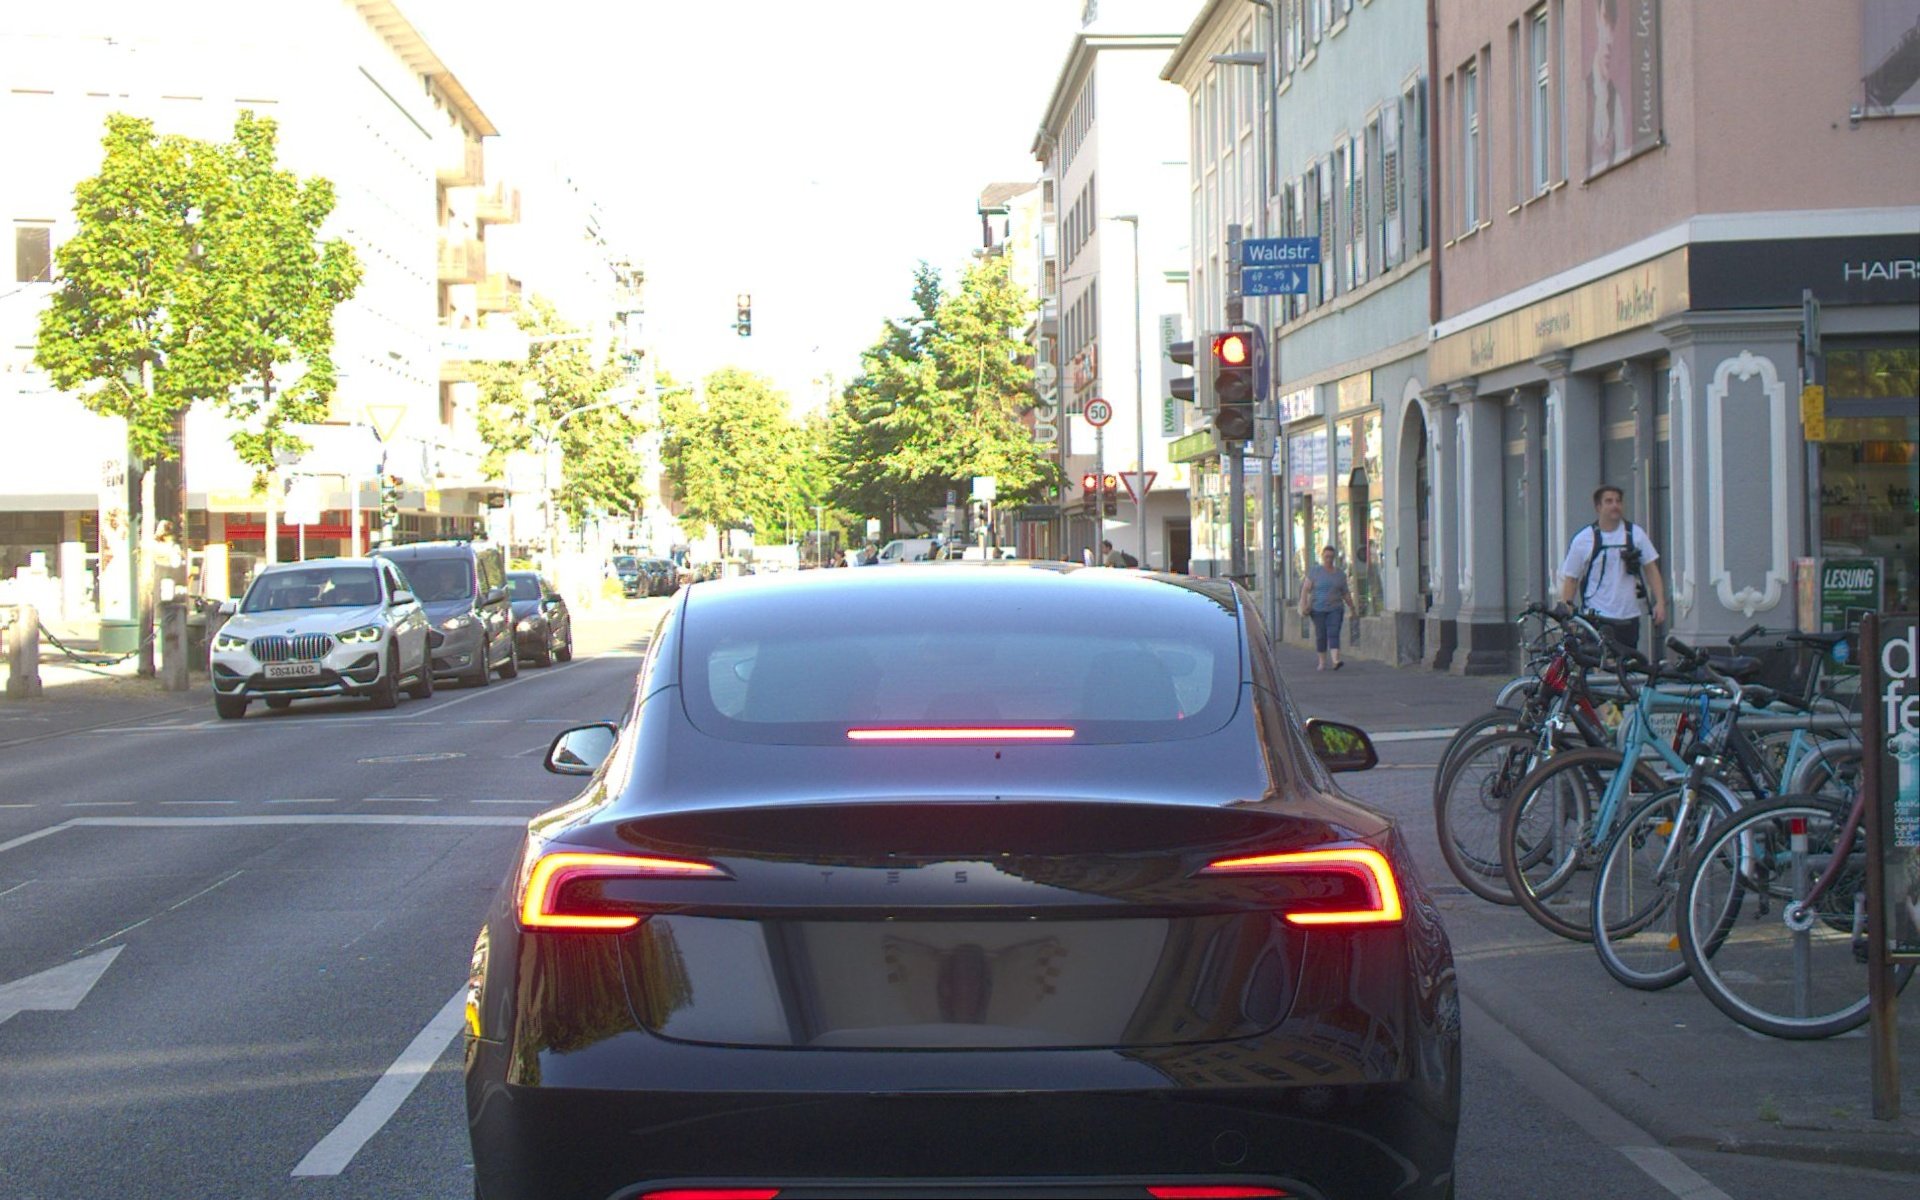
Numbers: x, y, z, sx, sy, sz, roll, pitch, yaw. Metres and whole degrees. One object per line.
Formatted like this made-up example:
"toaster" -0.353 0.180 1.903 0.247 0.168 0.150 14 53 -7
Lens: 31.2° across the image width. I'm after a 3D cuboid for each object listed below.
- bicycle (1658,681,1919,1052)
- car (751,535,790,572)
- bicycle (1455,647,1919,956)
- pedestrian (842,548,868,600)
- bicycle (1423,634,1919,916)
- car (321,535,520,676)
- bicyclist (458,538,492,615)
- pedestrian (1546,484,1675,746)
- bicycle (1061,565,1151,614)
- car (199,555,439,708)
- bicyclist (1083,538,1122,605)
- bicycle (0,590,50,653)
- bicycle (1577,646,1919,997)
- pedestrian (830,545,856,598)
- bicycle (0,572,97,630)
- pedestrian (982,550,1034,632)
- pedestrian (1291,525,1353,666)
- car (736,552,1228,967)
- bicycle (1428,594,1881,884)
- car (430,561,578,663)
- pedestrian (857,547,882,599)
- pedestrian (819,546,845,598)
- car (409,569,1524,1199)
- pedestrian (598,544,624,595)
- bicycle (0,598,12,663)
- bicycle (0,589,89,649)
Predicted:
"bicycle" 3.012 0.753 9.988 1.873 1.034 0.353 -2 0 6
"car" -10.308 -2.540 187.185 1.993 2.007 4.000 0 1 -1
"bicycle" 2.775 0.718 12.464 1.873 1.034 0.533 -2 0 4
"pedestrian" -2.882 -0.705 94.189 0.521 1.417 0.479 1 0 -30
"bicycle" 2.813 0.687 13.655 1.873 1.034 0.547 -2 0 5
"car" -6.559 0.029 42.207 1.787 1.640 4.403 0 1 -1
"bicyclist" -9.540 -0.467 67.635 0.522 1.498 0.476 1 0 -24
"pedestrian" 4.466 0.098 23.656 0.750 1.759 0.836 1 0 4
"bicycle" 3.024 -0.219 71.211 1.784 1.003 0.472 1 0 -16
"car" -6.681 0.291 36.195 1.789 1.455 3.757 -2 1 0
"bicyclist" 2.950 -0.592 71.182 0.669 1.390 0.462 1 0 -16
"bicycle" -14.806 0.326 52.139 1.864 0.931 0.606 0 1 -1
"bicycle" 2.993 0.700 11.181 1.873 1.084 0.414 -2 0 4
"pedestrian" -3.178 -0.775 93.173 0.521 1.417 0.479 1 0 -30
"bicycle" -20.809 0.018 77.921 2.361 1.291 0.513 1 0 -26
"pedestrian" 0.946 -0.183 68.544 0.754 1.626 0.956 1 0 -18
"pedestrian" 4.497 -0.058 42.777 0.706 1.736 0.540 0 1 -1
"car" 0.009 0.531 13.877 1.718 1.420 3.758 0 1 -2
"bicycle" 2.963 0.590 14.774 1.828 1.165 0.505 -2 0 5
"car" -6.754 0.155 51.197 1.715 1.441 3.845 1 1 -1
"pedestrian" -2.466 -0.744 93.633 0.521 1.417 0.479 1 0 -30
"pedestrian" -3.494 -0.761 93.821 0.472 1.412 0.522 1 0 -31
"car" -0.011 0.654 7.623 1.822 1.437 4.000 0 1 -1
"pedestrian" -11.559 -1.003 113.908 0.848 1.689 0.718 0 1 -3
"bicycle" -14.763 0.434 49.834 1.864 0.931 0.606 1 0 -1
"bicycle" -14.834 0.301 54.587 1.864 0.931 0.606 0 1 -1
